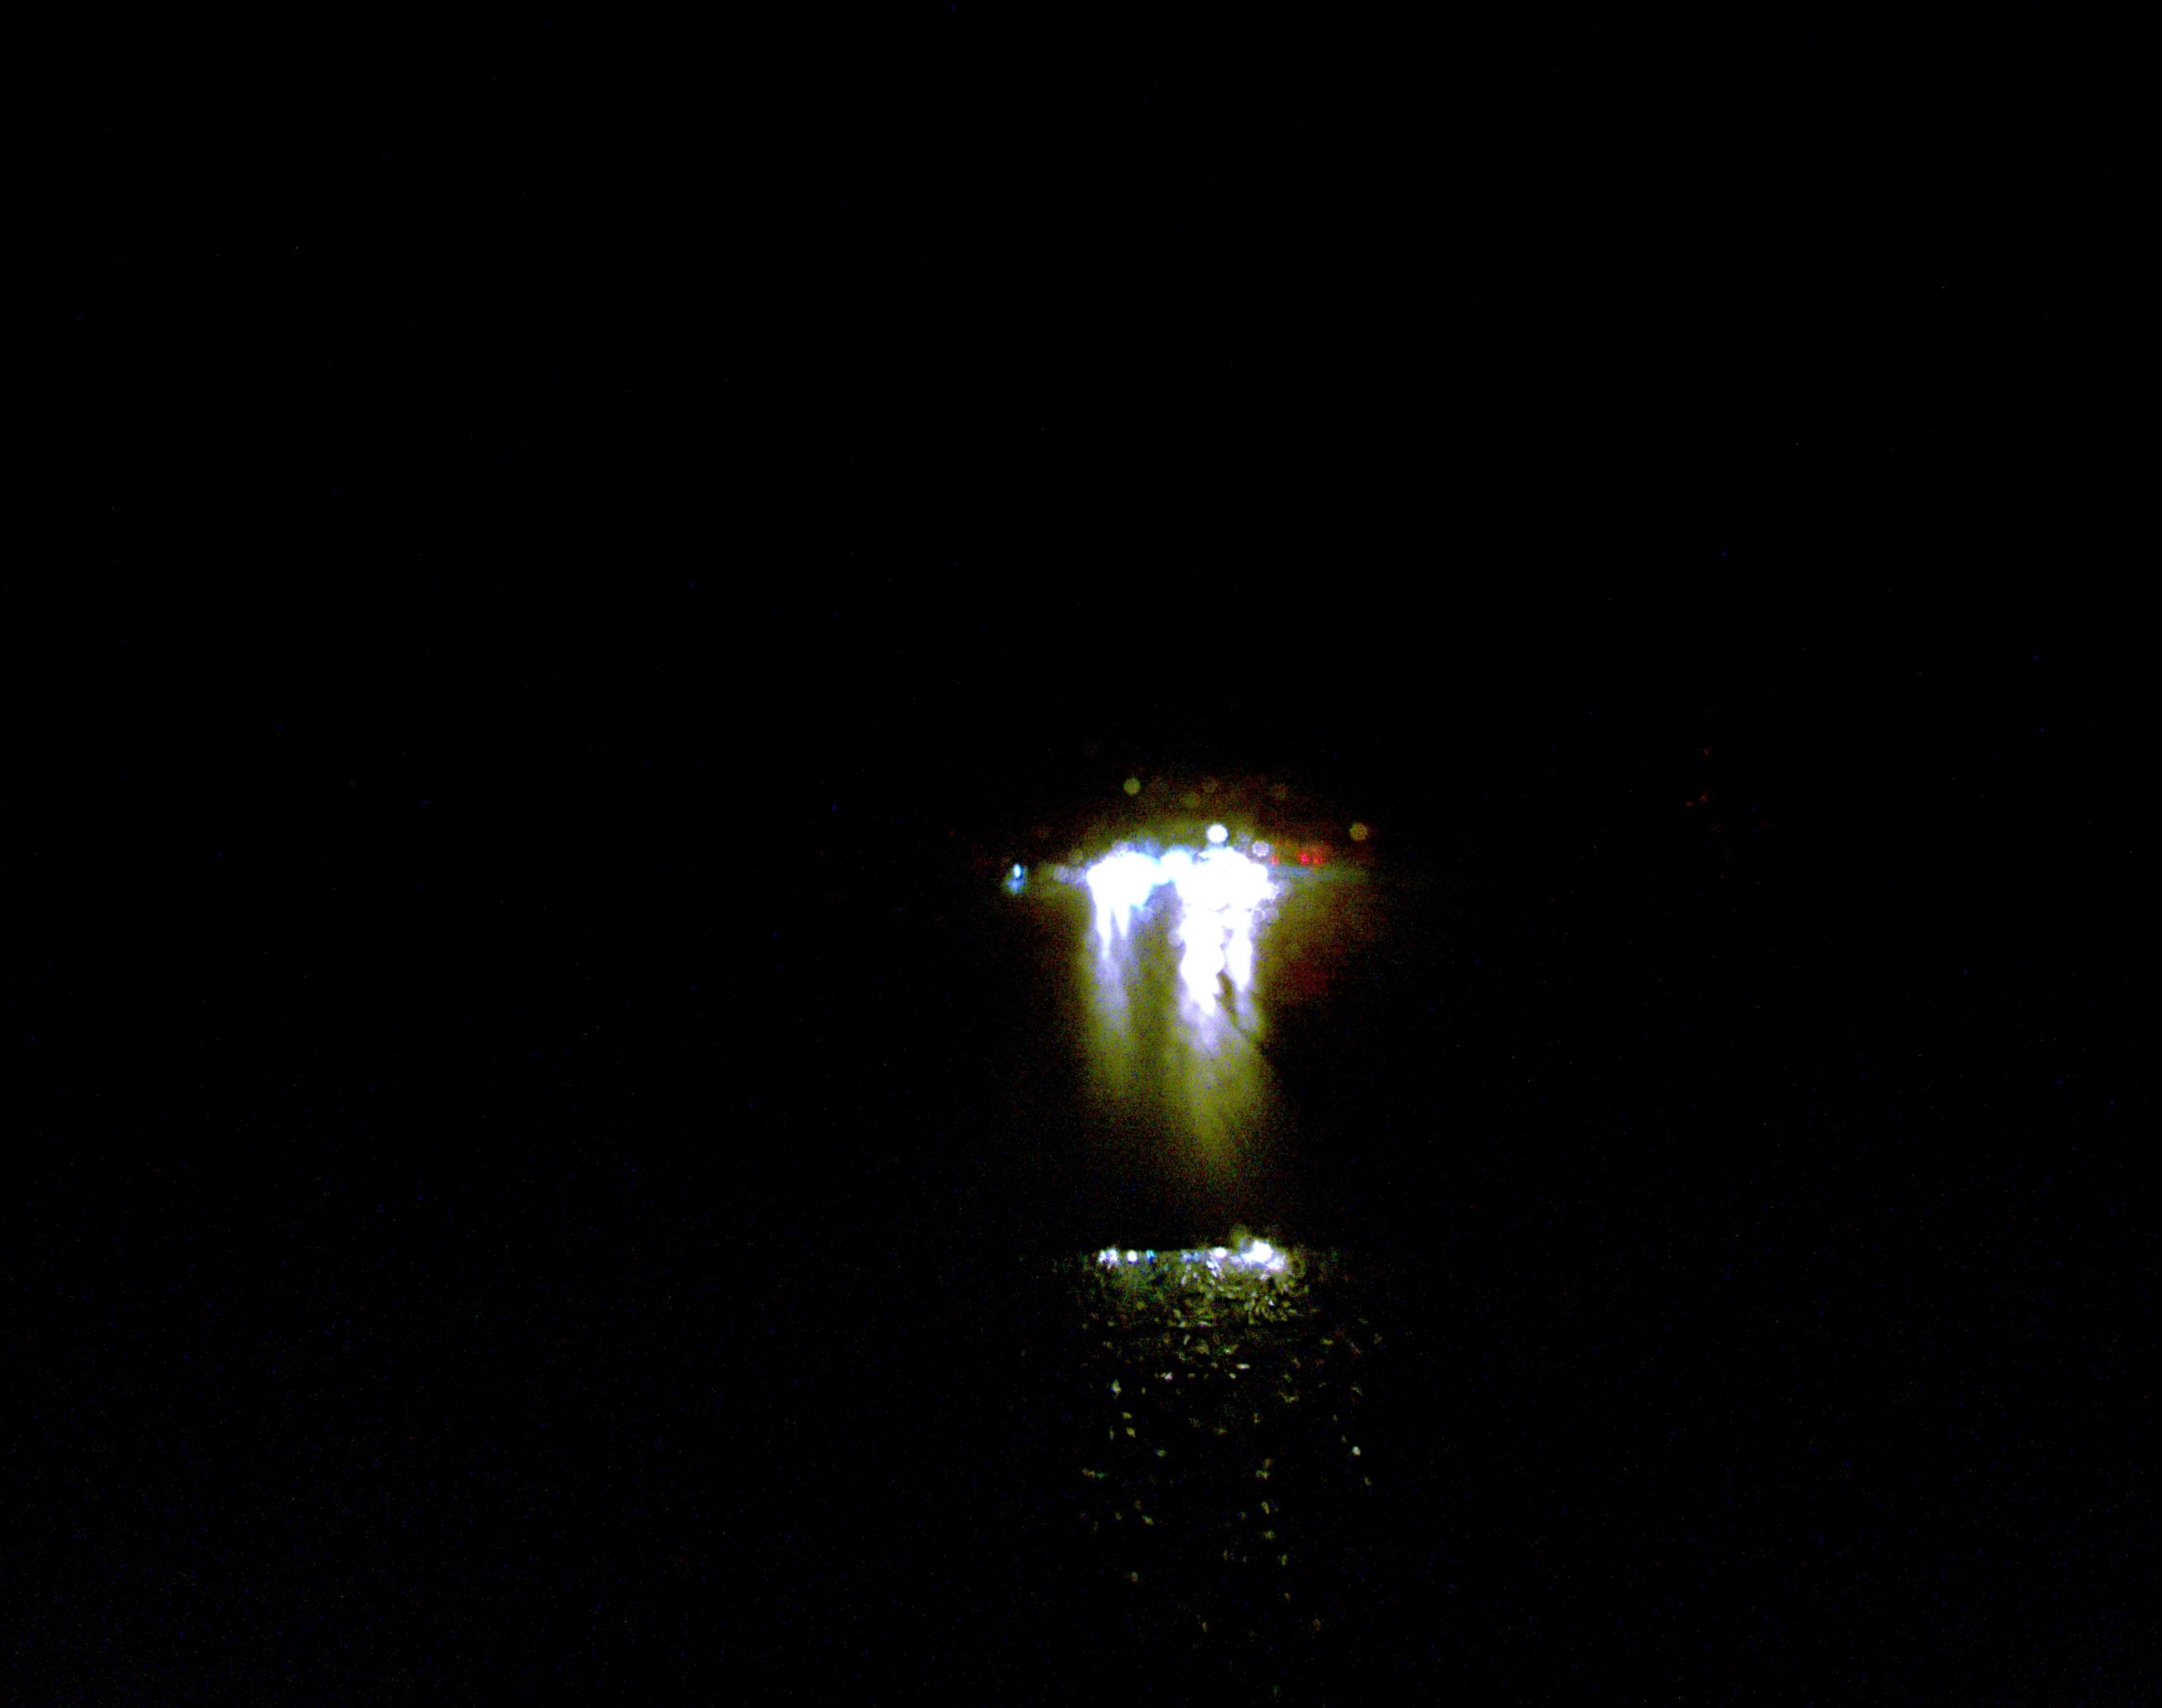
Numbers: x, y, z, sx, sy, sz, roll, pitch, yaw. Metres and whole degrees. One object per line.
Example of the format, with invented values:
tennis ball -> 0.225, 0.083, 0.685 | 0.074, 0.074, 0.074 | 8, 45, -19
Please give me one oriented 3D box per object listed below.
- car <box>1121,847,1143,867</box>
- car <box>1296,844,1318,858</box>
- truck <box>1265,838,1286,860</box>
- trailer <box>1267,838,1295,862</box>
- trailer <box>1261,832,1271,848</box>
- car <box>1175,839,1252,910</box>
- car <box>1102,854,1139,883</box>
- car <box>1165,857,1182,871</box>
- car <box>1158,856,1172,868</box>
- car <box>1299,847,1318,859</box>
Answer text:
car -> 5.324, 0.324, 79.489 | 1.998, 2.002, 4.000 | -3, 0, 1
car -> 24.977, -0.369, 84.076 | 1.607, 1.335, 3.243 | -3, 1, 4
truck -> 31.193, -0.813, 122.126 | 2.609, 3.438, 4.642 | -2, 1, 7
trailer -> 30.517, -0.692, 116.389 | 2.614, 3.453, 10.450 | -2, 1, 7
trailer -> 56.138, -4.259, 230.782 | 2.579, 4.431, 12.503 | -2, 1, 14
car -> 4.181, 0.595, 24.582 | 1.754, 2.093, 4.463 | 0, 0, 1
car -> 2.470, 0.869, 47.071 | 1.891, 1.603, 4.002 | -2, 1, 8
car -> 14.061, 1.500, 115.636 | 1.998, 2.002, 4.000 | -3, 0, 1
car -> 14.468, 1.328, 130.823 | 1.998, 2.002, 4.000 | -3, 0, 1
car -> 35.209, -0.174, 117.533 | 1.835, 1.703, 4.000 | -2, 1, 3
